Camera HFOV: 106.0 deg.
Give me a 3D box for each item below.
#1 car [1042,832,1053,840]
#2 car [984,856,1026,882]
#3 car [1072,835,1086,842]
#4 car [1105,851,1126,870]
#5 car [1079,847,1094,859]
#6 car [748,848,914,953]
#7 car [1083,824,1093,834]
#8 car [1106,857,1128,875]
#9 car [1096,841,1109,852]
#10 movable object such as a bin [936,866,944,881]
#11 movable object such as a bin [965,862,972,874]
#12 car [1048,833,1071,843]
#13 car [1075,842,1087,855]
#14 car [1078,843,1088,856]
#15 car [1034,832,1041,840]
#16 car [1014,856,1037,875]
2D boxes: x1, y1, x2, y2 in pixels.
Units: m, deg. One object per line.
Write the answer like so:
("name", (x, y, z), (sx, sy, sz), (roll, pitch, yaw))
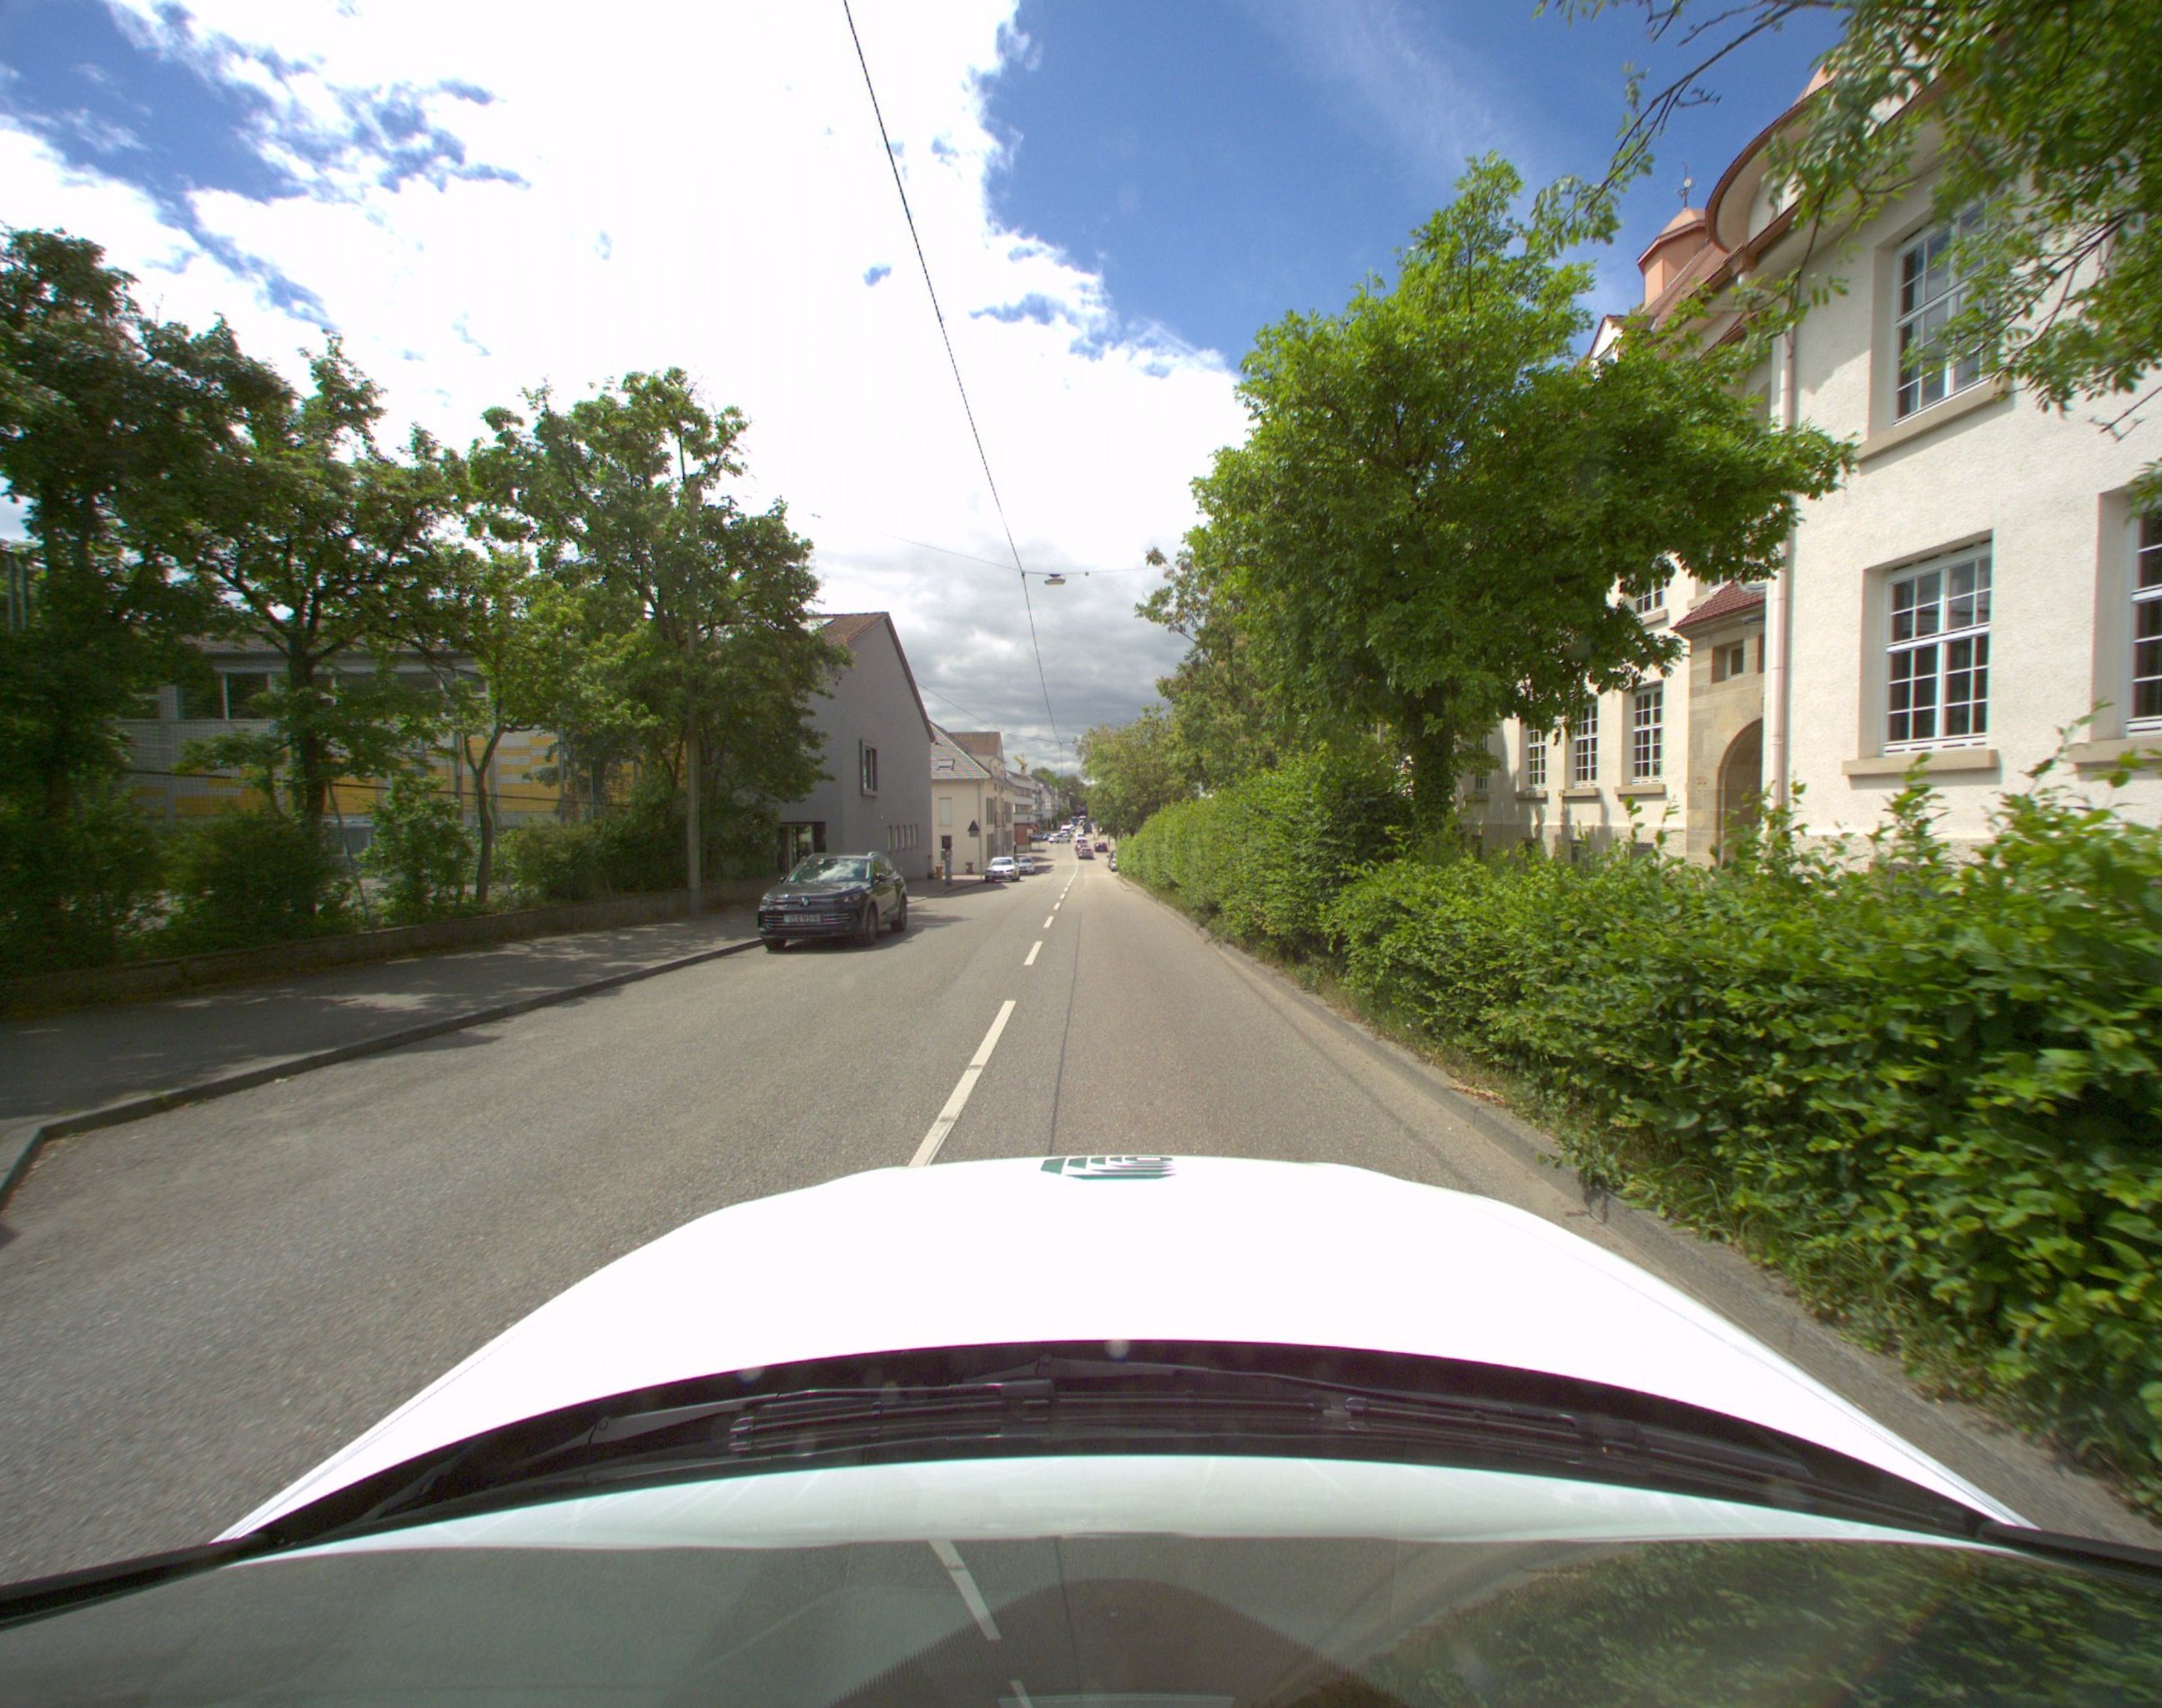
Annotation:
("car", (-6.606, -3.533, 160.942), (1.865, 1.640, 4.003), (1, 1, 2))
("car", (-4.491, 0.860, 48.651), (1.688, 1.390, 3.874), (-2, 1, 7))
("car", (-0.365, -3.015, 158.863), (1.770, 1.492, 4.015), (1, 1, 14))
("car", (3.212, 0.583, 77.135), (1.838, 1.767, 4.515), (0, 0, 0))
("car", (0.686, -0.186, 102.100), (1.738, 1.416, 4.000), (-1, 1, 0))
("car", (-4.459, 0.727, 15.301), (1.791, 1.610, 4.643), (-1, 1, -2))
("car", (1.810, -6.246, 202.137), (2.428, 2.318, 5.326), (1, 1, 0))
("car", (3.144, 1.007, 71.655), (1.780, 1.509, 4.364), (0, 0, 0))
("car", (3.117, -1.143, 117.778), (1.747, 1.370, 4.002), (0, 3, 1))
("movable object such as a bin", (-9.279, 1.271, 53.694), (0.453, 0.929, 0.399), (-2, 0, -1))
("movable object such as a bin", (-8.657, 1.081, 62.694), (0.412, 0.953, 0.391), (-2, 0, -3))
("car", (-3.883, -2.853, 145.635), (1.764, 1.557, 4.025), (-1, 1, 41))
("car", (-0.025, -0.854, 121.746), (1.830, 1.862, 3.850), (0, 1, 0))
("car", (0.234, -0.638, 110.864), (1.270, 1.527, 3.051), (-1, 4, 0))
("car", (-8.842, -3.695, 165.939), (1.379, 1.541, 3.399), (-1, 0, 0))
("car", (-4.532, 0.927, 66.646), (1.642, 1.418, 3.698), (0, 0, 0))
